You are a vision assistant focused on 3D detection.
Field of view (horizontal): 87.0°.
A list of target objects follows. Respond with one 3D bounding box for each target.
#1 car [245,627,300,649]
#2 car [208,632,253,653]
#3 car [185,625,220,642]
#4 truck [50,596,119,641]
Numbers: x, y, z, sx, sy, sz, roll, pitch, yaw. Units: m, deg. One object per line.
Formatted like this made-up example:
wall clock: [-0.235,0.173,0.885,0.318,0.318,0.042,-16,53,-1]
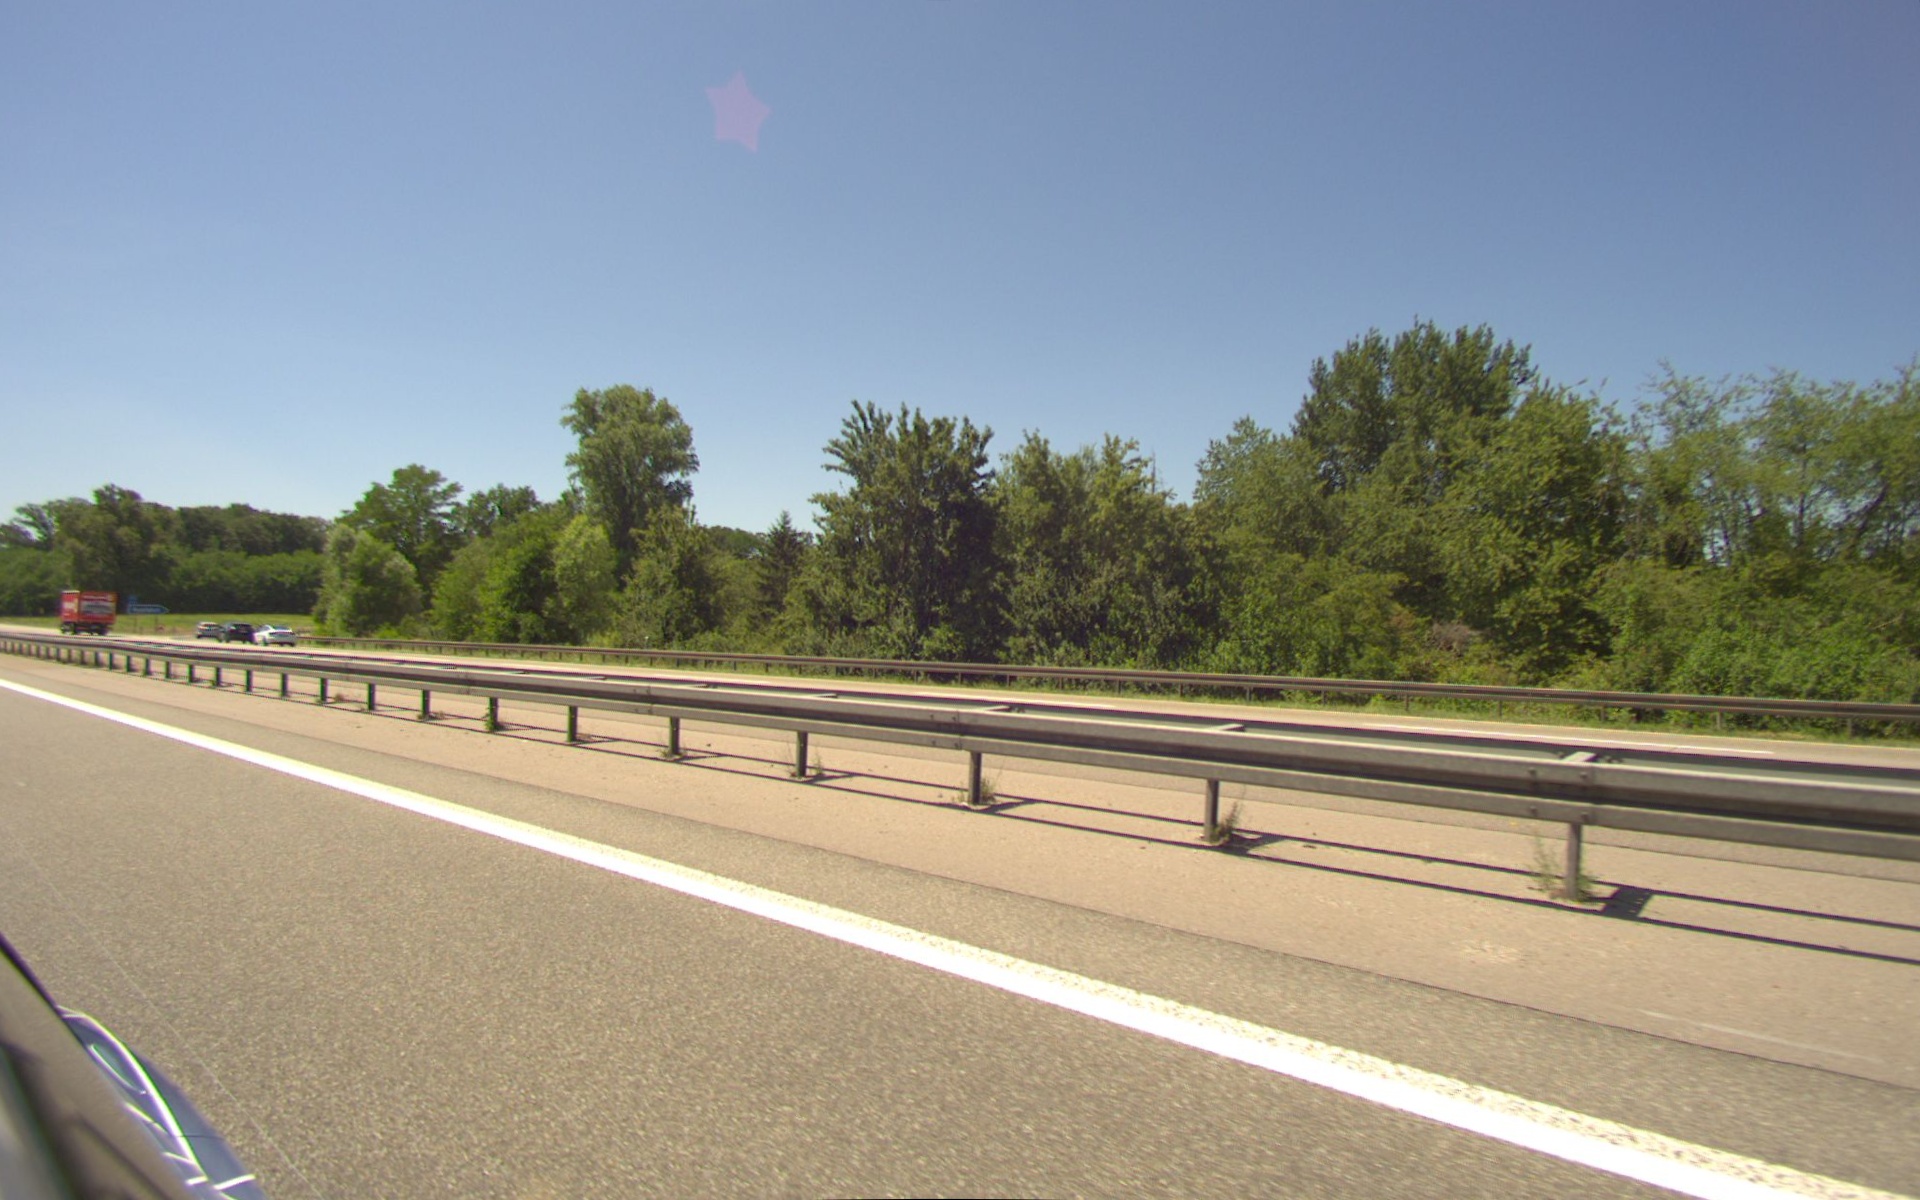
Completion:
car: [-47.922,2.612,70.504,4.970,1.423,1.973,-1,-2,41]
car: [-56.082,3.256,77.809,4.267,1.590,1.972,-1,-3,42]
car: [-72.604,3.204,96.979,1.970,1.521,4.724,5,-4,-44]
truck: [-76.801,1.599,88.687,9.798,3.755,3.033,-1,-2,40]
